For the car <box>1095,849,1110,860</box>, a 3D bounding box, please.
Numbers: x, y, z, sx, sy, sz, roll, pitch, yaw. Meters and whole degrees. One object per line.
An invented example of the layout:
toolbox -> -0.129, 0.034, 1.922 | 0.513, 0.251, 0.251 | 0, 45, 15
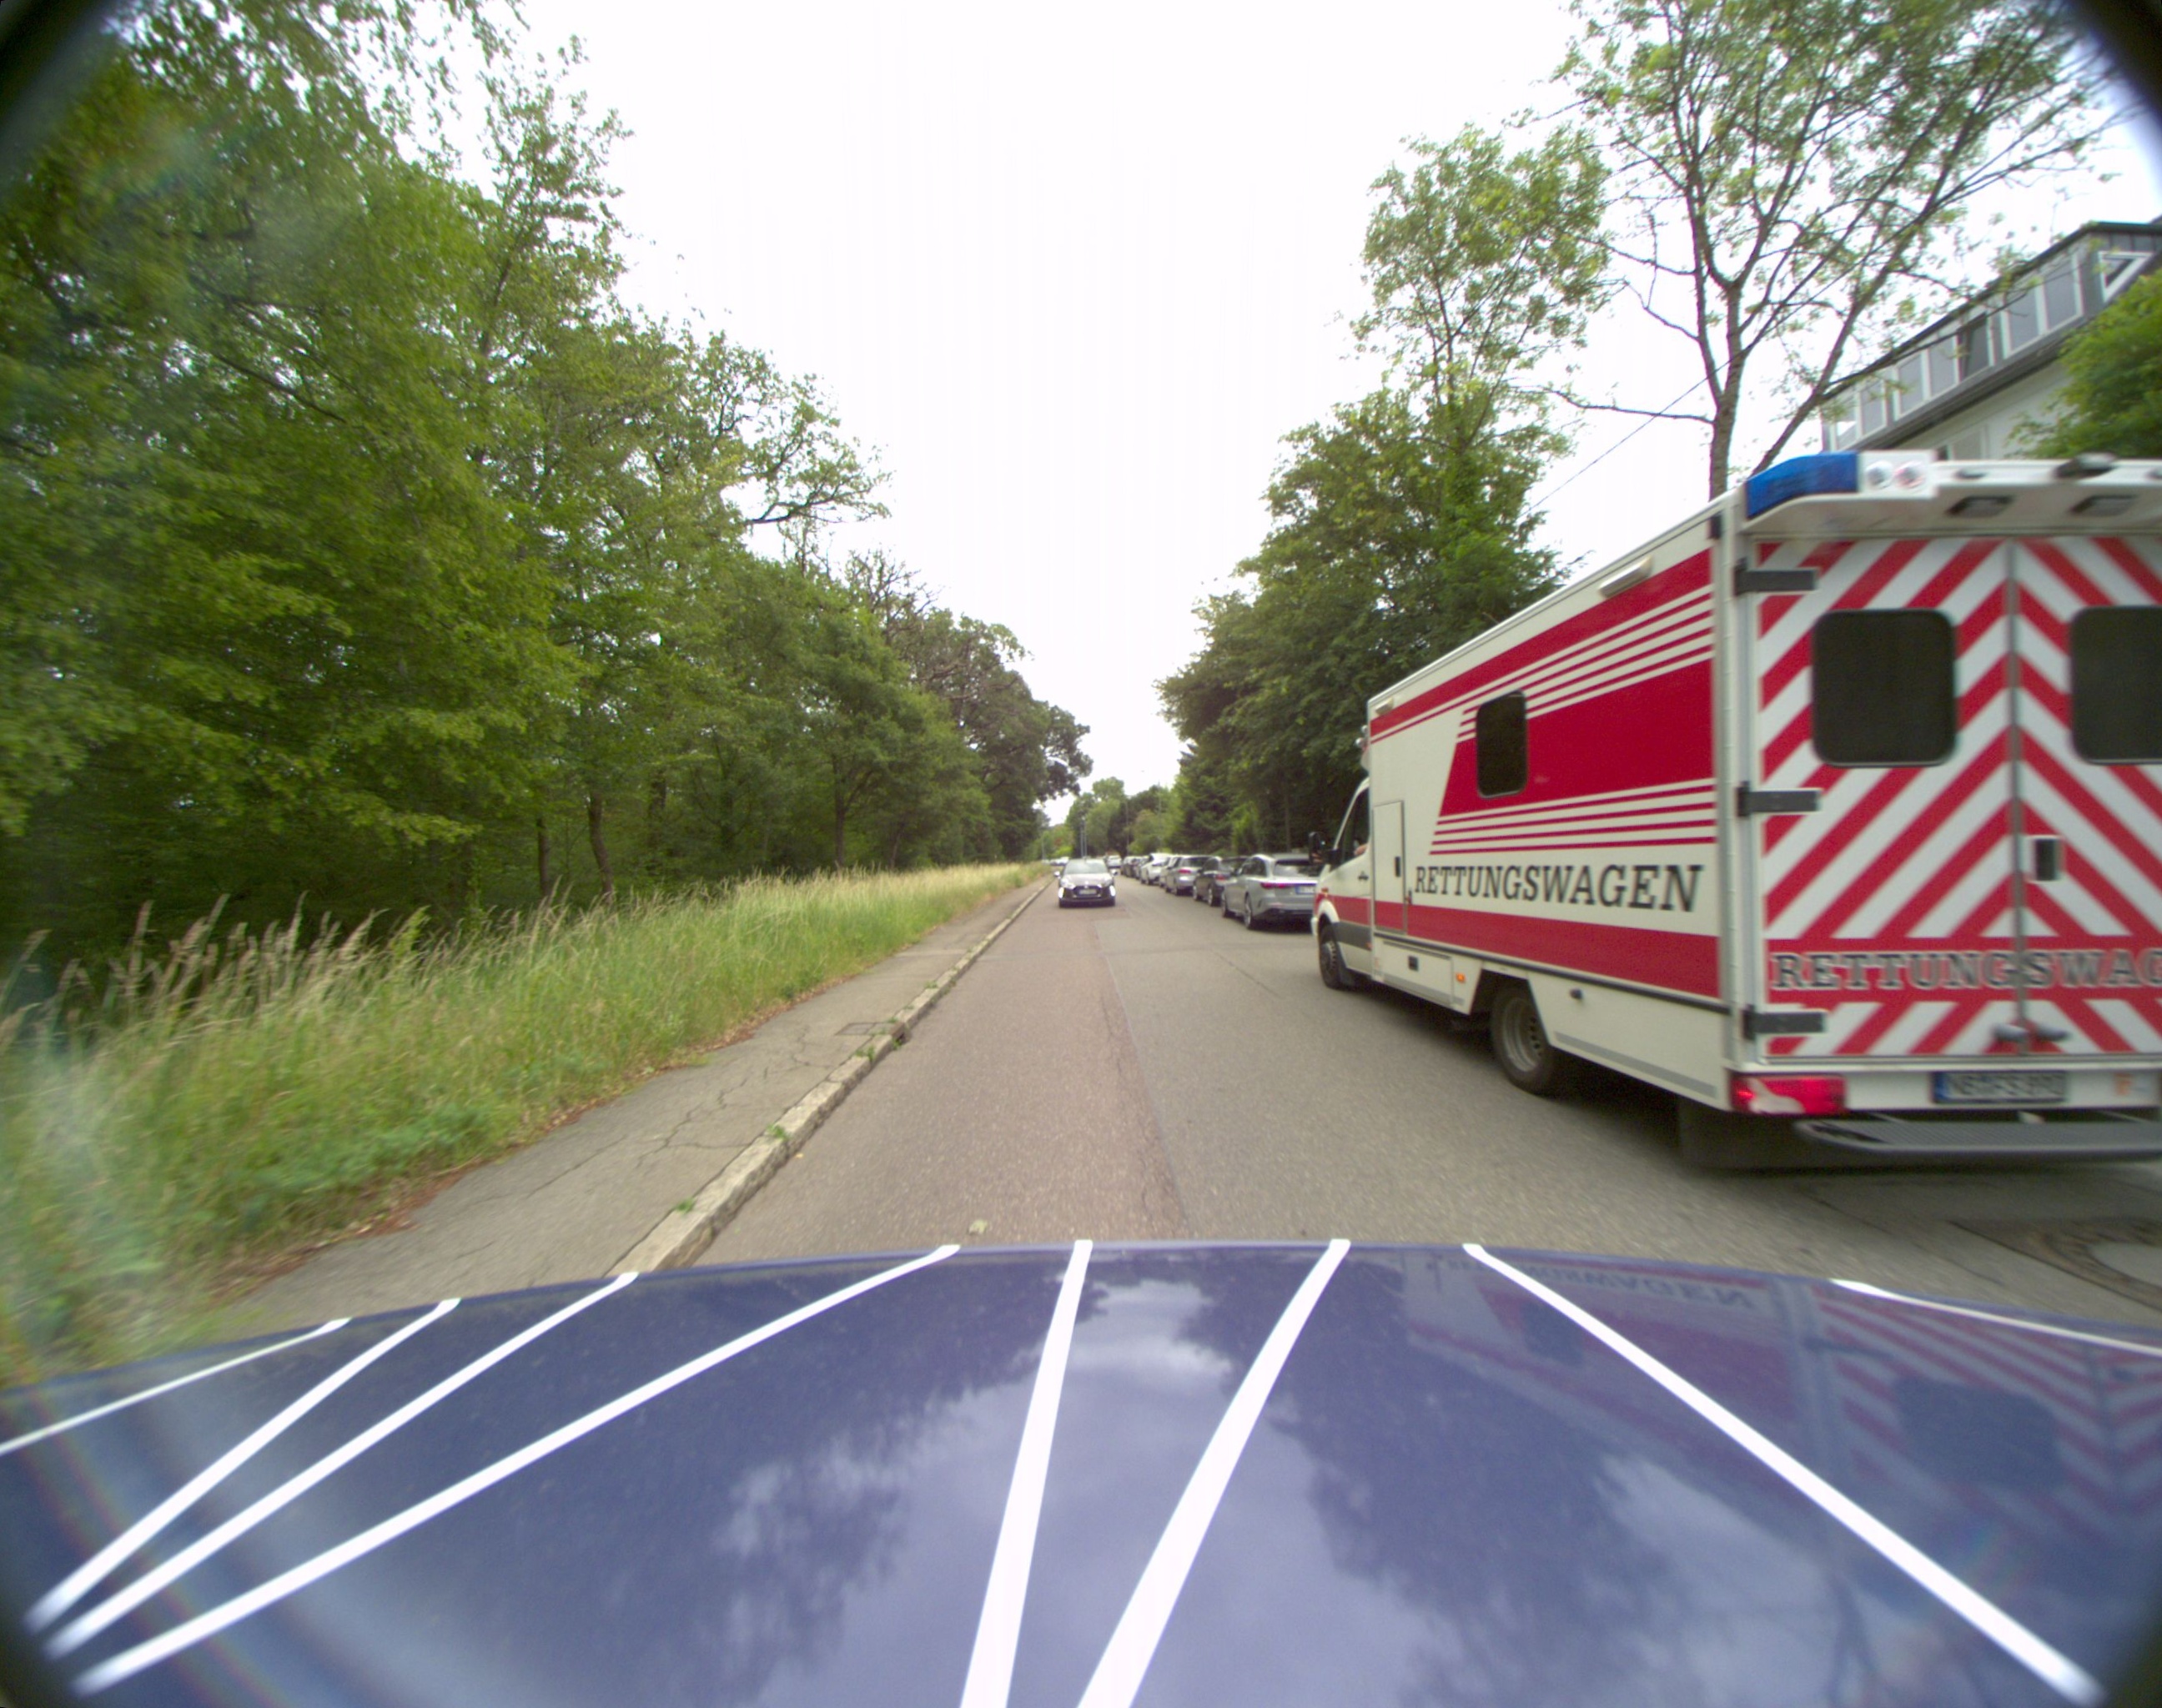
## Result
car -> 3.012, 0.077, 106.851 | 1.741, 1.431, 3.786 | -3, 0, -3

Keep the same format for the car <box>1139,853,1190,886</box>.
car -> 4.198, 0.751, 38.929 | 1.921, 1.553, 4.602 | 0, 0, -3

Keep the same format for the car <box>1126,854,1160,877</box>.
car -> 4.160, 0.764, 51.776 | 1.739, 1.431, 4.261 | -1, 0, -3

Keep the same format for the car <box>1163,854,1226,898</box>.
car -> 4.172, 0.778, 28.427 | 1.725, 1.496, 4.007 | 0, 0, 0

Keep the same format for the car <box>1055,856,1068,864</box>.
car -> -4.251, 1.247, 164.727 | 2.000, 1.678, 4.706 | -3, 0, -11

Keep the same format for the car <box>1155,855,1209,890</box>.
car -> 4.450, 0.779, 34.073 | 1.725, 1.496, 3.816 | 0, 0, -3

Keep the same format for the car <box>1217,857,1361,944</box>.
car -> 4.150, 0.839, 15.990 | 1.802, 1.496, 4.863 | 0, 0, 2

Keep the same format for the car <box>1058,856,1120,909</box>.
car -> 0.194, 0.864, 25.035 | 1.788, 1.491, 4.014 | -3, 0, -2

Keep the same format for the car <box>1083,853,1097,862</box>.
car -> 1.507, 0.543, 125.444 | 1.765, 1.441, 4.041 | -3, 0, -7

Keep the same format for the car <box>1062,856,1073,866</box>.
car -> -2.537, 1.339, 141.569 | 1.999, 1.678, 4.709 | -3, 0, -3

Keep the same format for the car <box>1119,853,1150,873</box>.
car -> 4.004, 0.673, 58.010 | 1.853, 1.431, 4.909 | -1, 0, -2

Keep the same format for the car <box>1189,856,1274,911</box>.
car -> 4.437, 0.820, 22.981 | 1.725, 1.496, 4.059 | 0, 0, -1

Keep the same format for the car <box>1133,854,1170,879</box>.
car -> 4.285, 0.749, 46.602 | 1.839, 1.431, 4.116 | 0, 0, 0

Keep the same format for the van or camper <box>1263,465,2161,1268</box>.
van or camper -> 3.665, 0.032, 6.342 | 2.462, 2.878, 7.167 | -1, 0, -1

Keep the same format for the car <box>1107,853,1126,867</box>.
car -> 3.974, 0.701, 86.320 | 1.788, 1.491, 4.014 | -3, 0, -2
